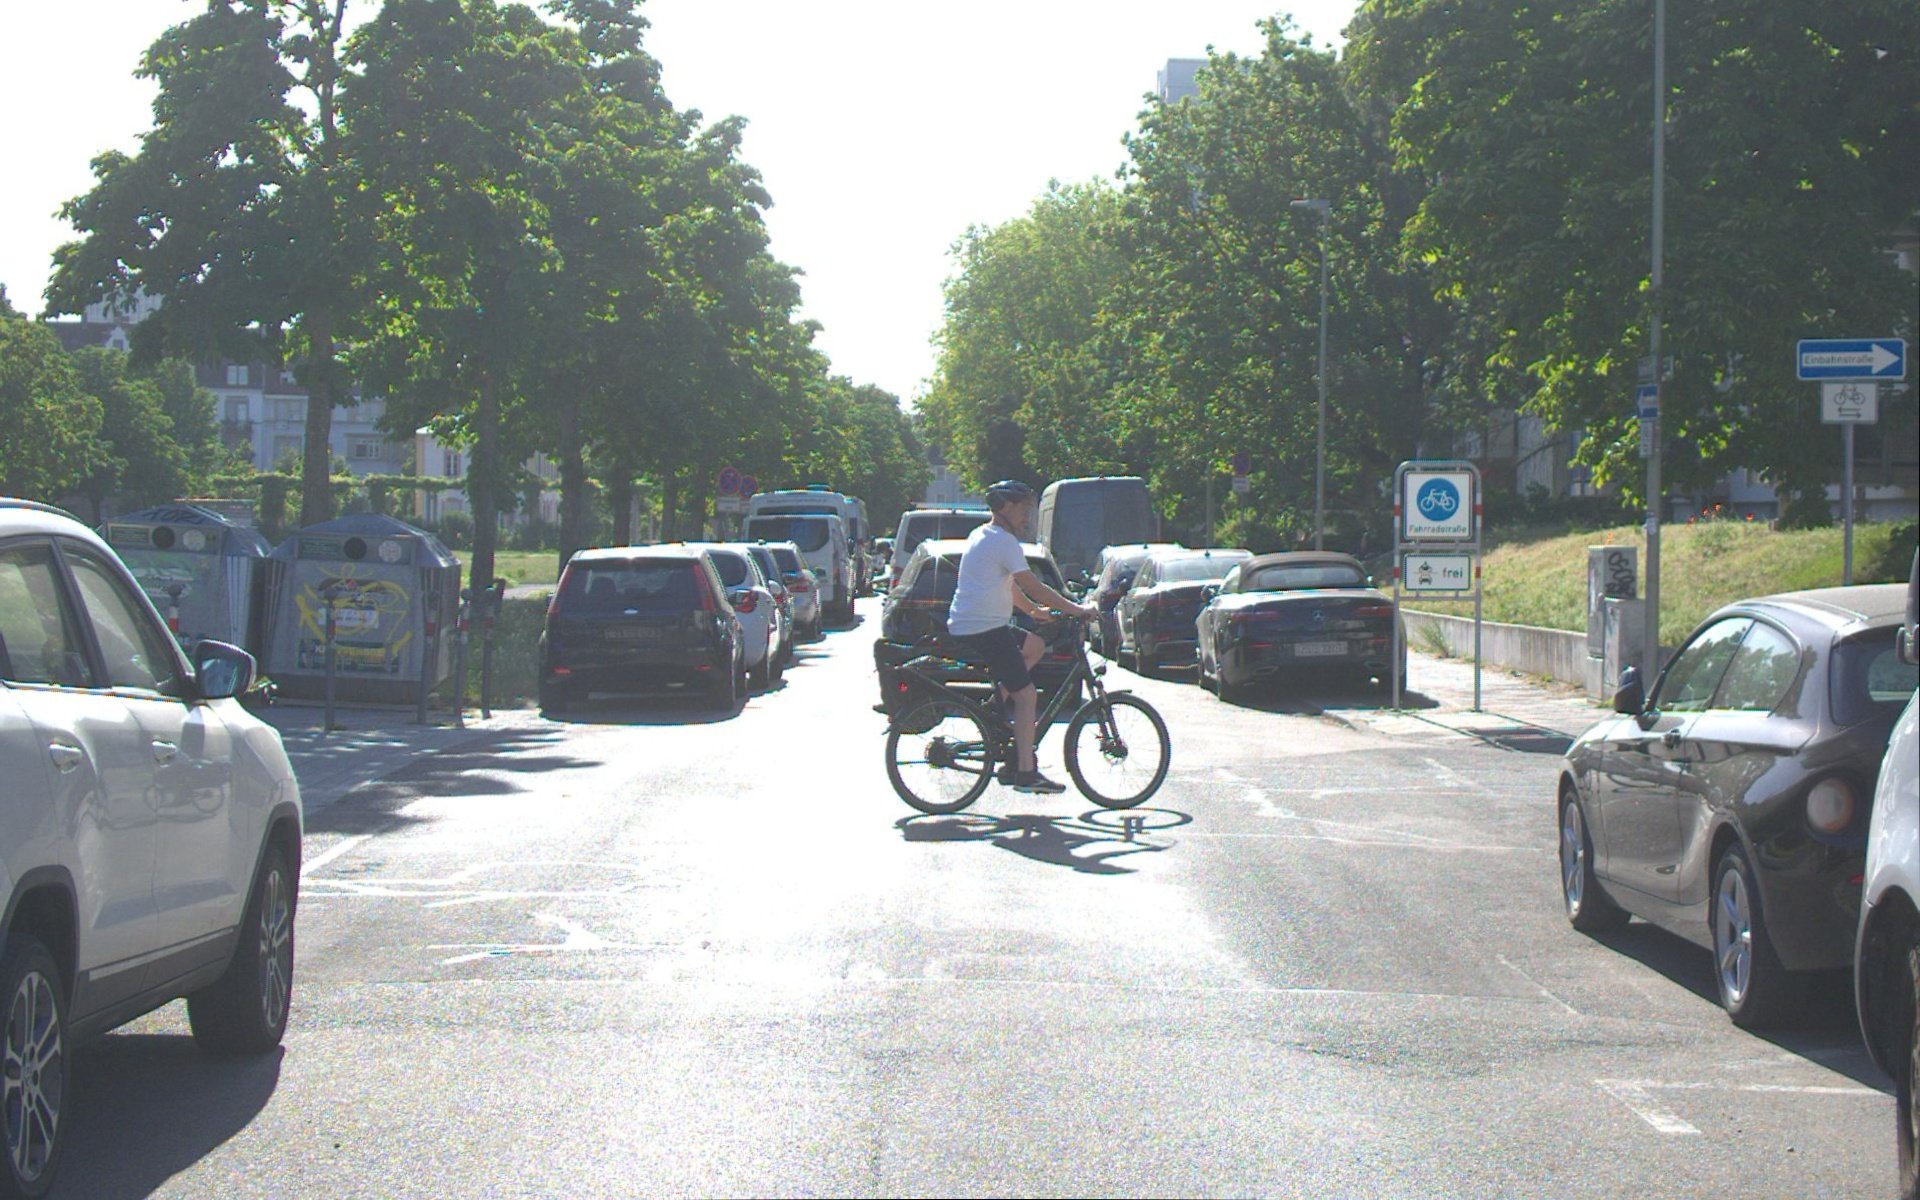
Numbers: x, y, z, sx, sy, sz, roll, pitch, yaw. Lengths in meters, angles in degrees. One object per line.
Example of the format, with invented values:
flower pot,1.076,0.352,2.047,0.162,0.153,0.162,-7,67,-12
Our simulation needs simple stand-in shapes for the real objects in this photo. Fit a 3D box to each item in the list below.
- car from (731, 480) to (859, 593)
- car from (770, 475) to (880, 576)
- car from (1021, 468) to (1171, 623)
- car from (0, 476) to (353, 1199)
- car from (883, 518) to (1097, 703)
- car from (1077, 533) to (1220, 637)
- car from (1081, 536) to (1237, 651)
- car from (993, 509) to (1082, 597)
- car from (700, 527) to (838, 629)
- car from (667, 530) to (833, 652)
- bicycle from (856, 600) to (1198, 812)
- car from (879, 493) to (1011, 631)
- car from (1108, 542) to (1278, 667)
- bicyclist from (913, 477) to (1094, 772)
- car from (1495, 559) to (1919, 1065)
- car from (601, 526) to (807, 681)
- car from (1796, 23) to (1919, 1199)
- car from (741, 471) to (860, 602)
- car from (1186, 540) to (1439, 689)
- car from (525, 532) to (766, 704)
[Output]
car,-2.930,-1.148,61.927,2.098,1.936,4.127,1,1,0
car,-3.634,-2.024,93.789,2.616,2.636,6.114,1,1,1
car,2.408,-1.007,62.431,2.162,2.680,5.417,0,1,-3
car,-2.908,0.529,9.132,1.756,1.641,4.287,-1,1,1
car,0.286,0.050,31.421,1.779,1.526,4.000,2,1,1
car,2.824,-0.253,52.329,1.988,1.482,4.127,1,1,1
car,2.691,-0.119,47.272,1.779,1.482,4.032,1,1,-2
car,2.029,-1.283,92.020,2.163,2.285,5.266,1,1,-1
car,-2.933,-0.371,53.473,1.833,1.495,4.127,1,1,1
car,-2.617,-0.152,43.675,1.779,1.456,4.127,1,1,1
bicycle,0.368,0.577,19.084,1.759,1.123,0.663,0,1,-19
car,-0.184,-0.602,52.236,1.894,1.984,4.010,-1,1,1
car,2.720,0.020,40.899,1.779,1.366,4.127,1,1,1
bicyclist,0.235,0.128,19.027,0.788,1.590,0.696,1,1,-19
car,3.371,0.622,12.785,1.958,1.476,4.499,-1,1,-1
car,-2.601,0.009,35.747,1.777,1.490,3.875,-1,1,1
car,3.111,0.149,5.120,2.142,2.703,6.841,-1,1,1
car,-3.136,-1.272,68.338,2.098,2.487,4.127,1,1,1
car,3.498,0.102,34.941,2.125,1.333,4.506,-2,1,1
car,-2.792,0.134,31.228,1.748,1.420,3.916,-1,0,1
